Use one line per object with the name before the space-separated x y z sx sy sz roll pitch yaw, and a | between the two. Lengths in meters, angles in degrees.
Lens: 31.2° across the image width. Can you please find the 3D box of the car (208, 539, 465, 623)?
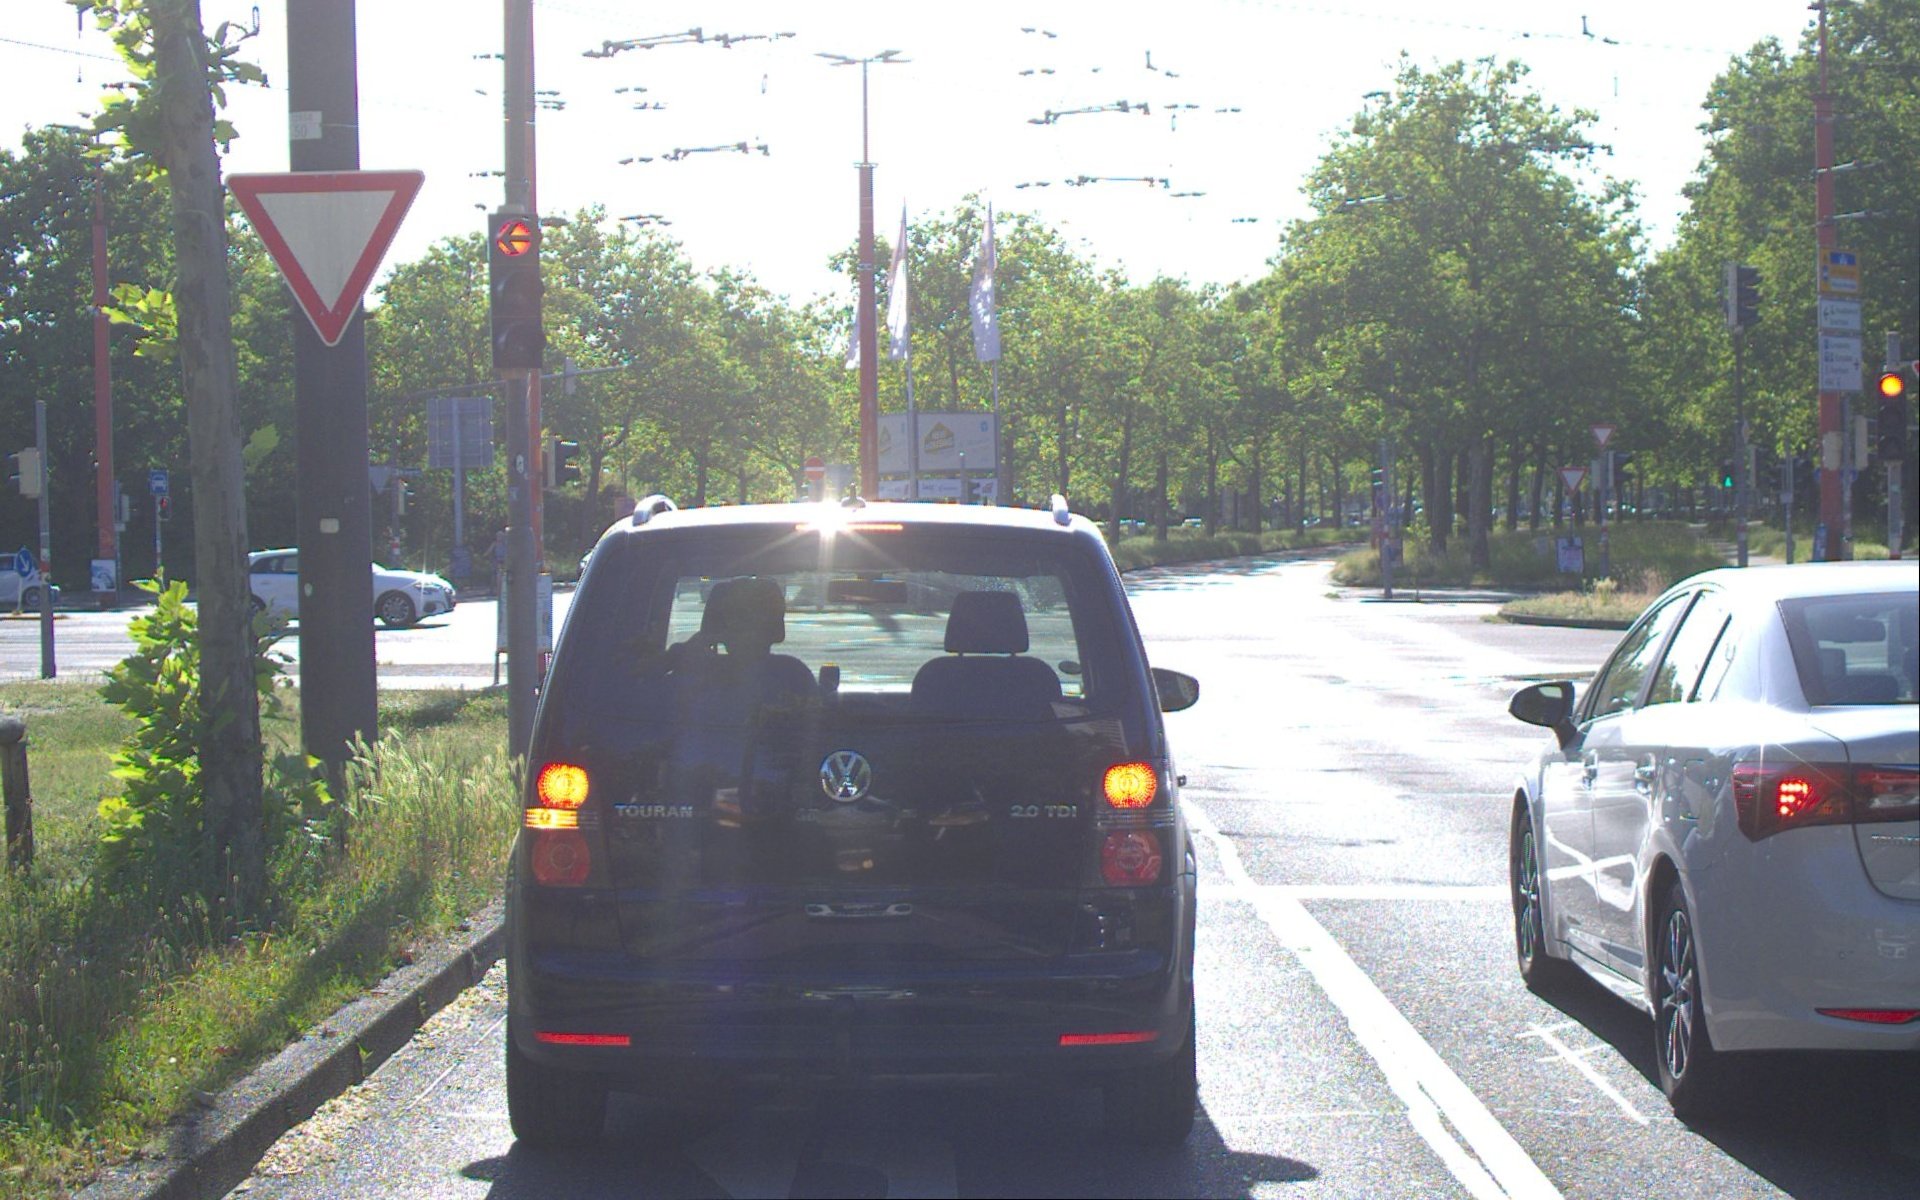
car | -11.210 -0.351 61.991 4.209 1.459 1.914 0 1 3

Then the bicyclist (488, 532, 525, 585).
bicyclist | -12.488 -1.153 94.637 0.693 1.452 0.874 0 1 18

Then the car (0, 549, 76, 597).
car | -26.393 -0.745 94.586 3.802 1.305 1.663 -1 1 -23

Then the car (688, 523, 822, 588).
car | -5.433 -1.197 91.713 1.995 1.679 4.825 0 1 17

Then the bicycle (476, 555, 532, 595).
bicycle | -12.519 -0.685 94.425 0.735 1.086 1.959 0 1 18

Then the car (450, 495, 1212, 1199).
car | -0.316 0.548 9.884 1.737 1.635 4.000 0 1 -1

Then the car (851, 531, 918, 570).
car | -3.348 -2.219 152.979 1.994 1.679 4.826 0 1 11

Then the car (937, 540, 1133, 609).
car | 1.668 -0.577 75.132 1.913 1.459 4.212 1 1 44

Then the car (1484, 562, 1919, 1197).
car | 2.688 0.632 10.085 1.715 1.449 4.144 0 1 1

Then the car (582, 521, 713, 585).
car | -8.491 -1.285 93.802 1.995 1.679 4.825 0 1 15
